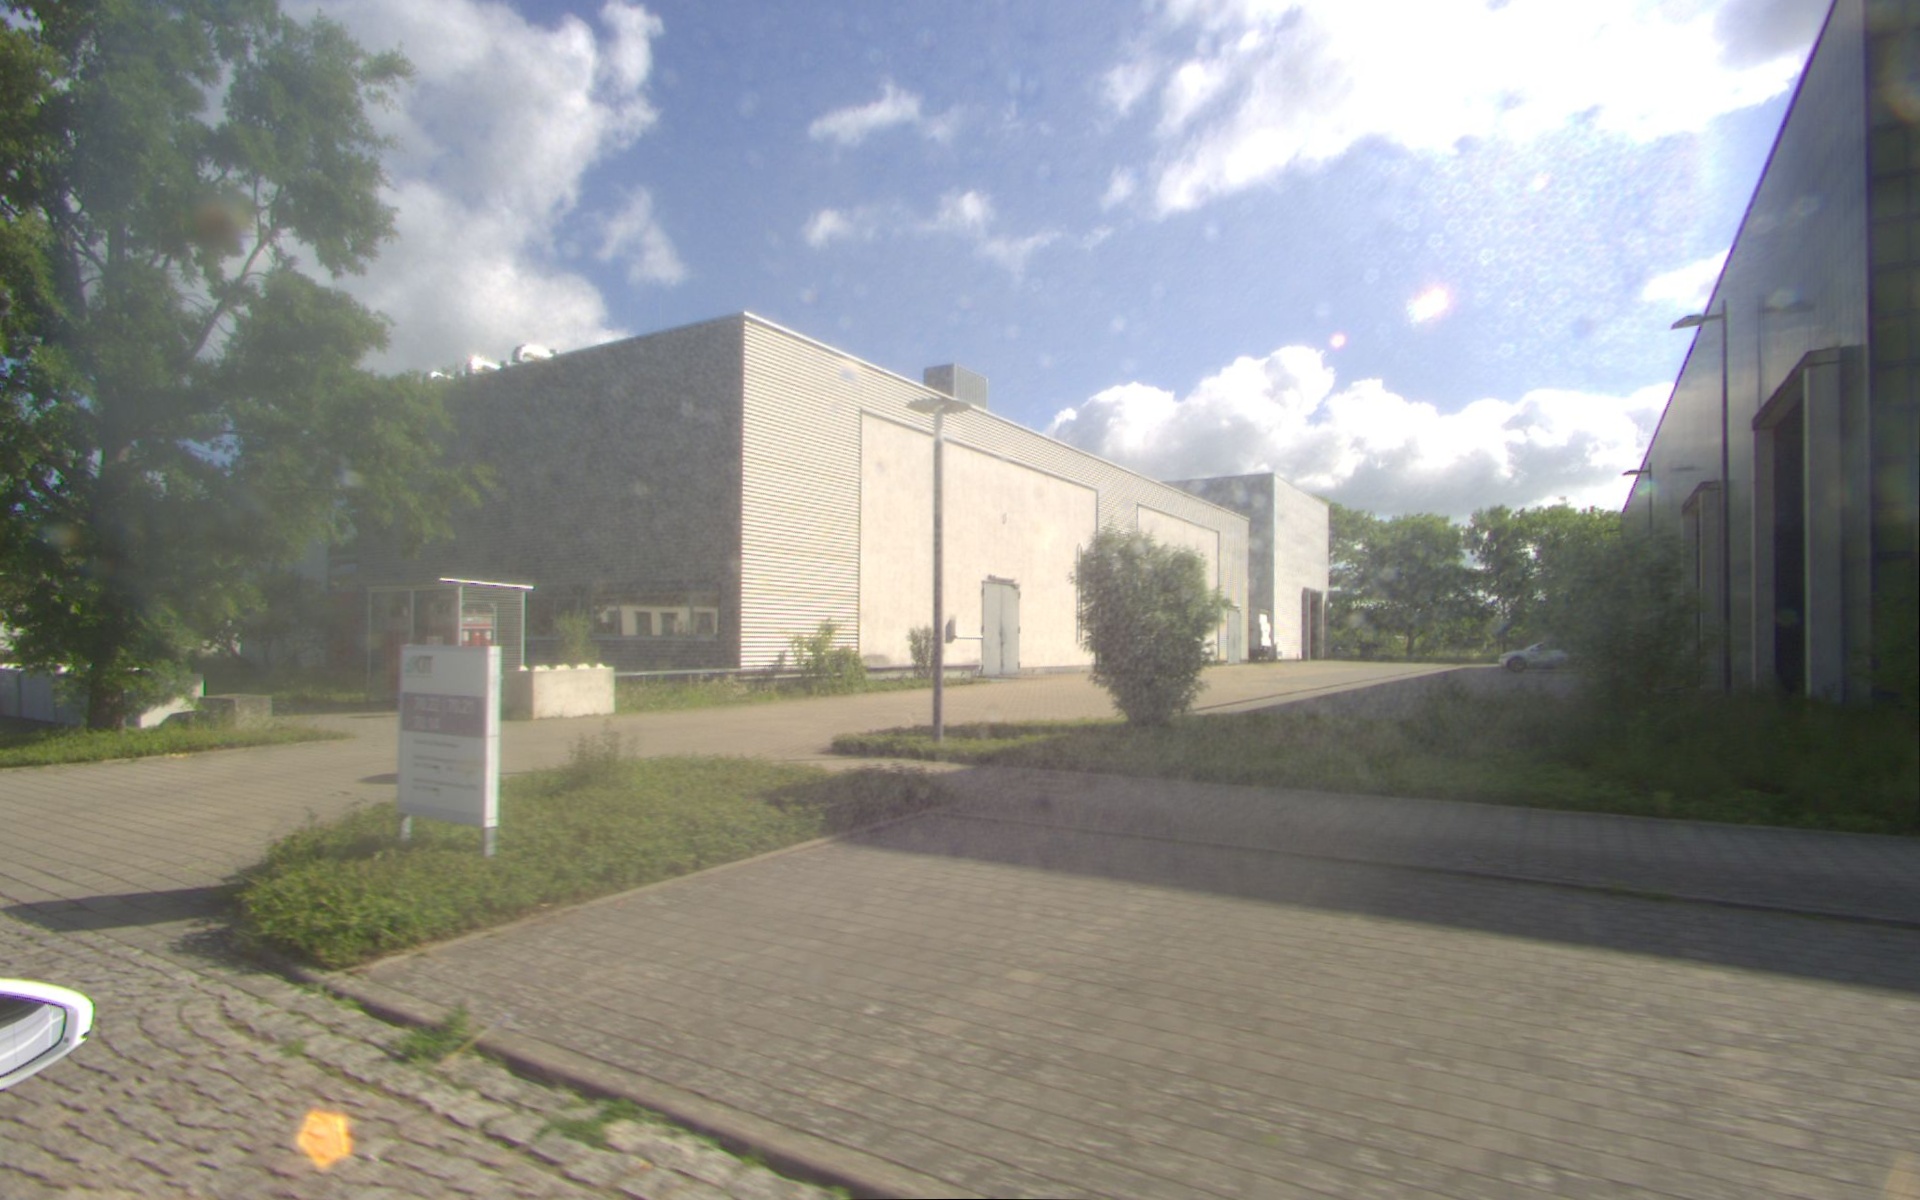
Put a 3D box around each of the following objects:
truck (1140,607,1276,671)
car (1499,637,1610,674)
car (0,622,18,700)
[{"bbox_3d":[15.653,2.456,63.547,7.989,3.865,2.638,-1,-3,33],"label":"truck"},{"bbox_3d":[28.604,2.628,48.271,4.513,1.684,1.991,-1,-2,31],"label":"car"},{"bbox_3d":[-19.813,1.137,17.909,1.670,1.479,4.124,-1,-1,37],"label":"car"}]
